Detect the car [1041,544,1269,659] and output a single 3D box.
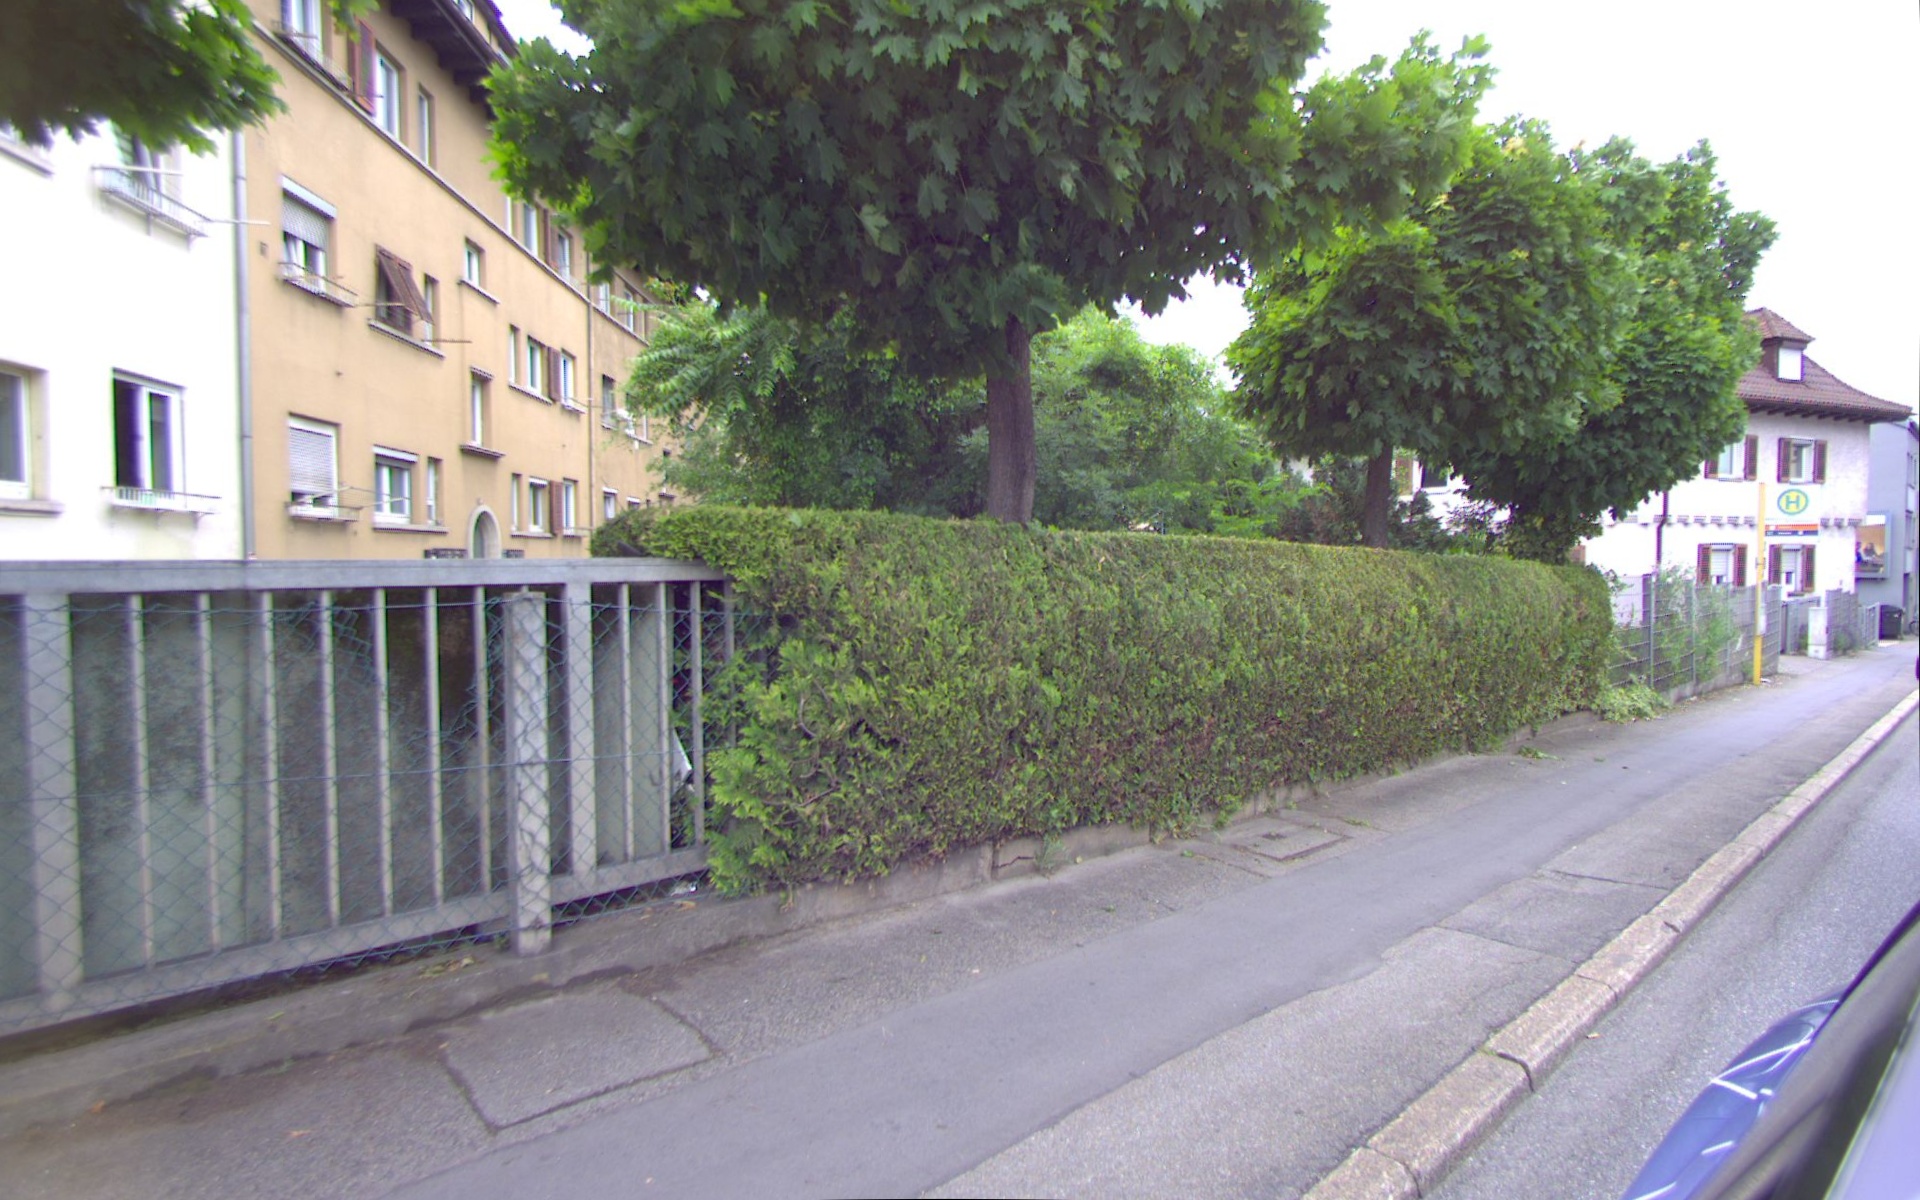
[{"bbox_3d":[3.658,0.004,19.523,3.923,2.039,2.001,1,1,-1],"label":"car"}]
